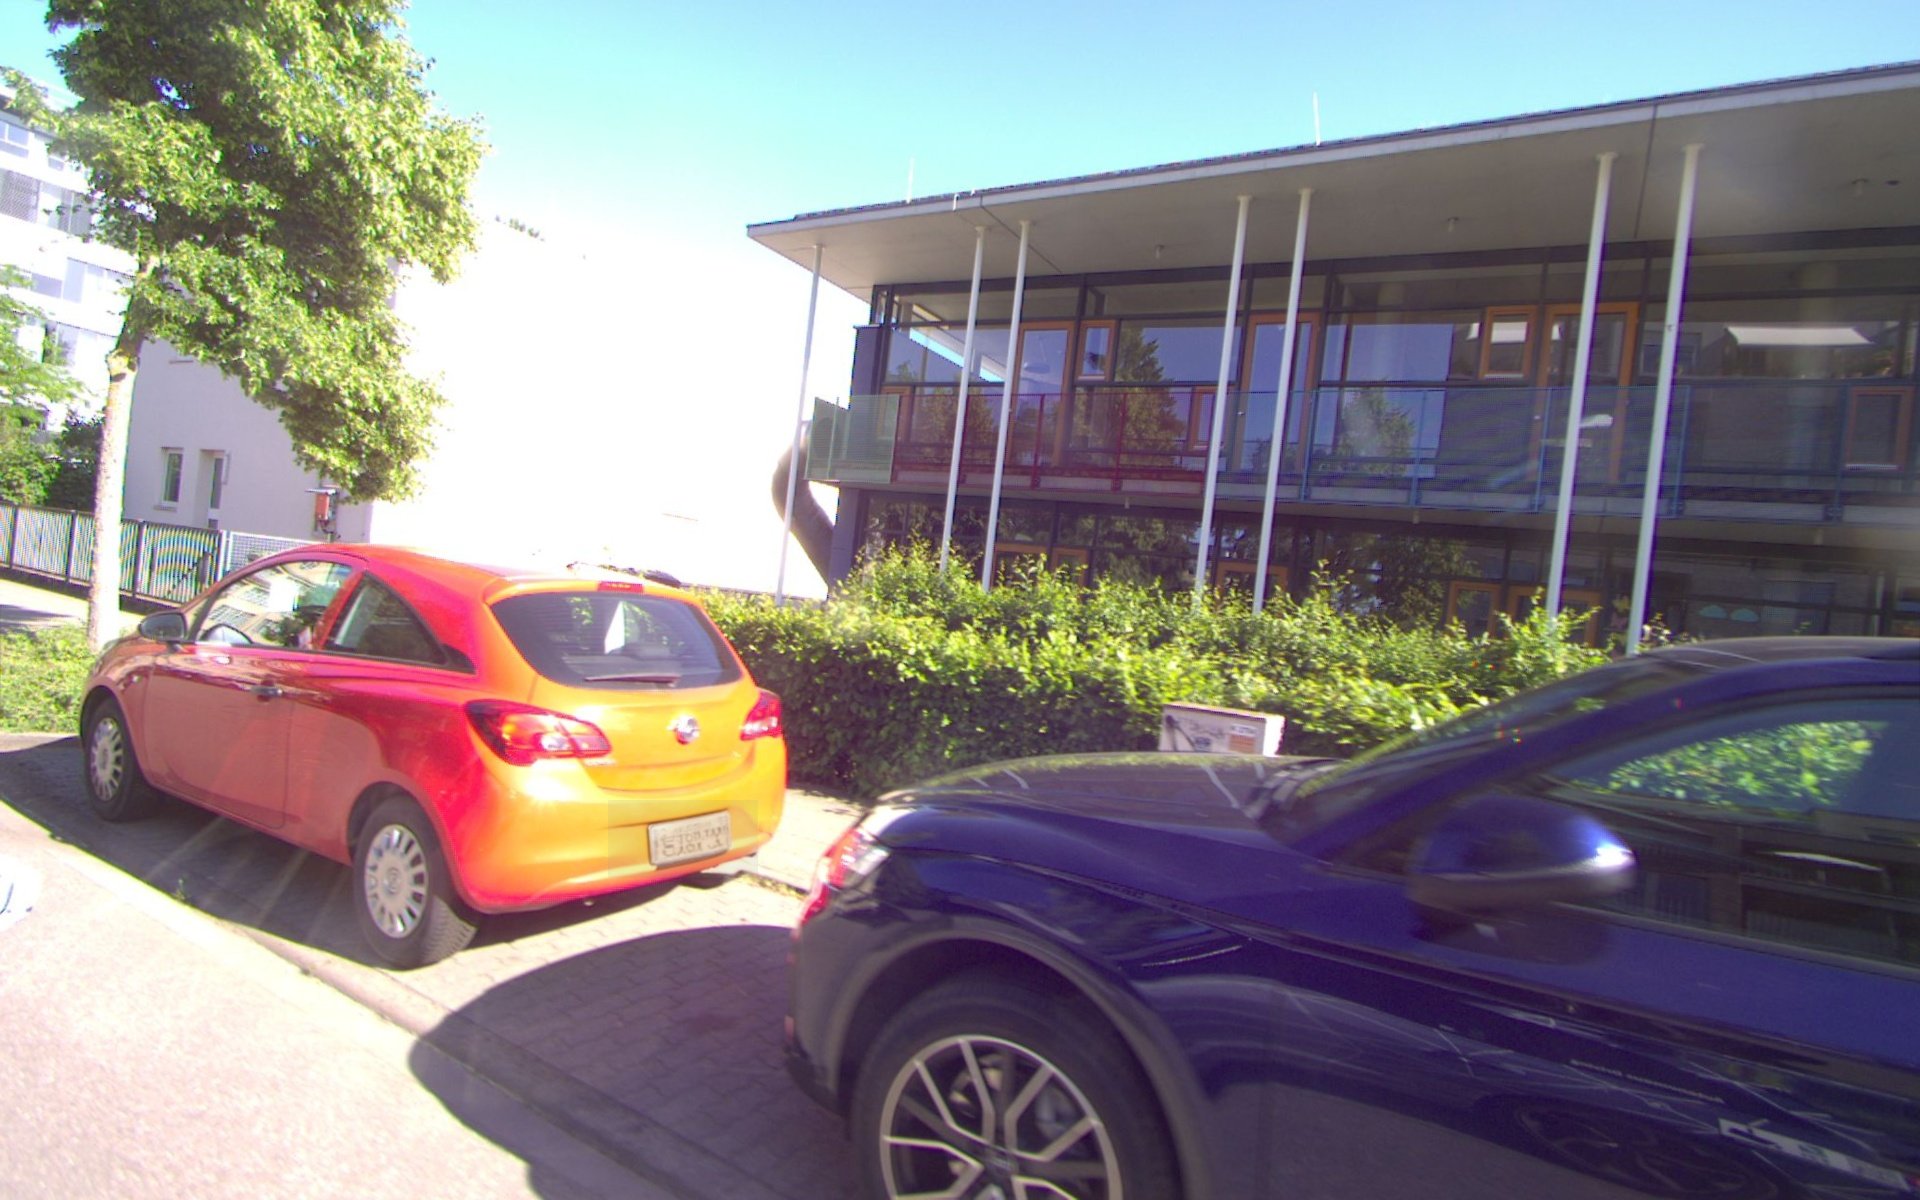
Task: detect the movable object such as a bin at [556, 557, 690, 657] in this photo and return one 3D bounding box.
[{"bbox_3d":[-5.725,0.130,17.121,1.605,1.466,1.331,7,0,32],"label":"movable object such as a bin"}]

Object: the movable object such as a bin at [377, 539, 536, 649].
[{"bbox_3d":[-7.414,-0.078,14.844,1.605,1.374,1.367,7,0,32],"label":"movable object such as a bin"}]

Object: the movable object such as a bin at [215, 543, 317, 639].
[{"bbox_3d":[-8.732,-0.114,12.657,0.963,1.083,0.633,6,0,31],"label":"movable object such as a bin"}]

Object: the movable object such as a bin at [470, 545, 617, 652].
[{"bbox_3d":[-6.629,-0.019,16.037,1.605,1.466,1.367,7,0,32],"label":"movable object such as a bin"}]

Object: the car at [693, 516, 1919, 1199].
[{"bbox_3d":[1.739,0.890,2.097,4.338,1.704,1.901,6,1,32],"label":"car"}]

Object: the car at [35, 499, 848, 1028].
[{"bbox_3d":[-2.626,0.473,4.889,3.782,1.523,1.677,6,1,31],"label":"car"}]
